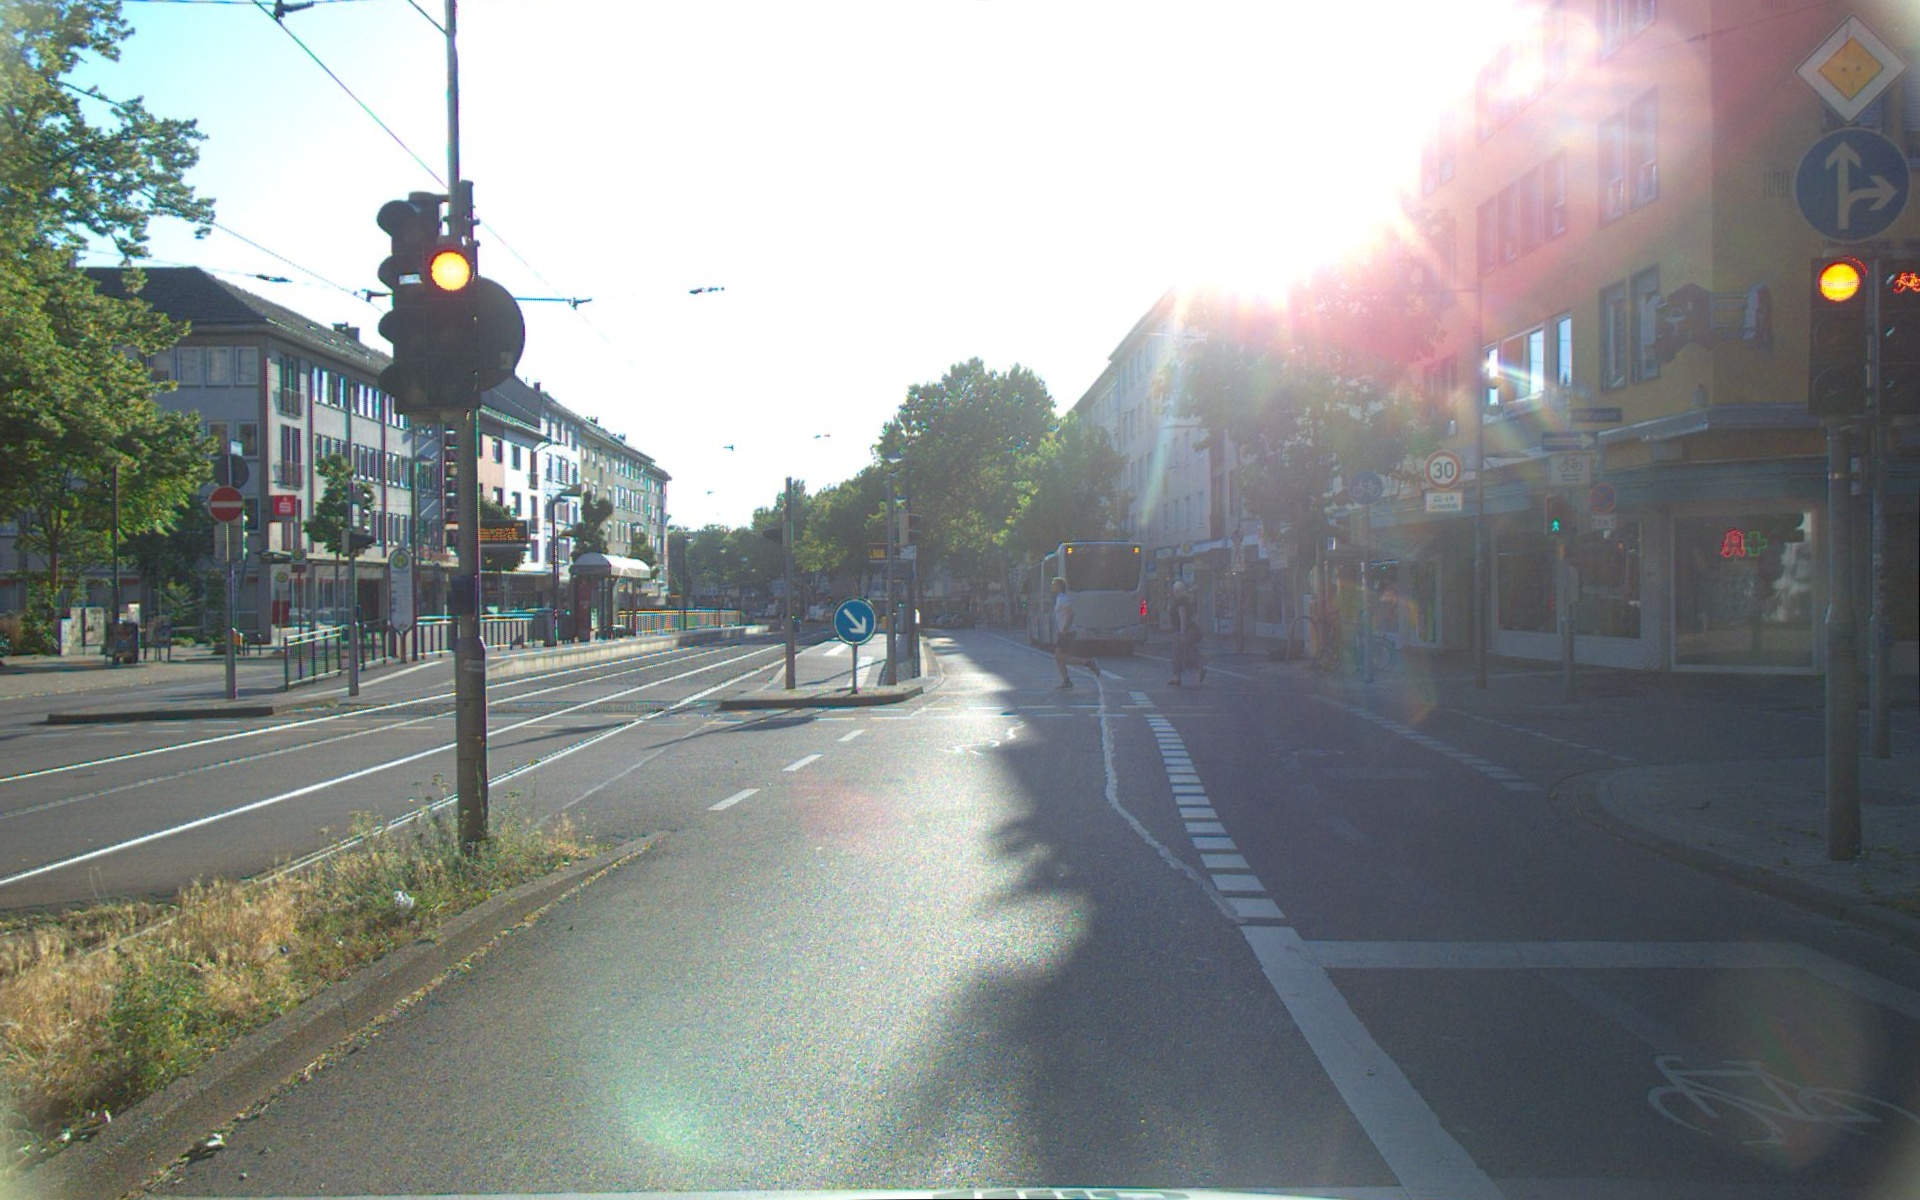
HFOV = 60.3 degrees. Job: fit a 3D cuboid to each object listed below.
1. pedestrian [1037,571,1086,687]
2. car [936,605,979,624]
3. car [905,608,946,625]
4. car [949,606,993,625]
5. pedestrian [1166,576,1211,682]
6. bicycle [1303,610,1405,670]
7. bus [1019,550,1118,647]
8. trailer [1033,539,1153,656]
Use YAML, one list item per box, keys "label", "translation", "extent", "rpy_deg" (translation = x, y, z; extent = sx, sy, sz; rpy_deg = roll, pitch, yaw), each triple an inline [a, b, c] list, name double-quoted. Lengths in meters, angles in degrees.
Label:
- label: "pedestrian"
  translation: [1.602, 0.450, 26.200]
  extent: [0.666, 1.801, 0.686]
  rpy_deg: [1, 0, -3]
- label: "car"
  translation: [-0.255, 1.382, 161.068]
  extent: [3.848, 1.729, 1.815]
  rpy_deg: [-1, 0, -30]
- label: "car"
  translation: [-3.488, 1.604, 166.438]
  extent: [3.848, 1.624, 1.674]
  rpy_deg: [-1, 0, -30]
- label: "car"
  translation: [1.032, 1.467, 158.456]
  extent: [3.848, 1.729, 1.815]
  rpy_deg: [-1, 0, -30]
- label: "pedestrian"
  translation: [3.940, 0.486, 28.528]
  extent: [0.666, 1.801, 0.687]
  rpy_deg: [0, 0, 0]
- label: "bicycle"
  translation: [7.476, 0.752, 31.416]
  extent: [1.737, 1.039, 0.694]
  rpy_deg: [-2, 0, -2]
- label: "bus"
  translation: [3.748, -0.039, 59.027]
  extent: [2.755, 3.156, 9.092]
  rpy_deg: [1, 0, -1]
- label: "trailer"
  translation: [3.877, -0.065, 50.080]
  extent: [2.755, 3.165, 8.792]
  rpy_deg: [1, 0, -1]
